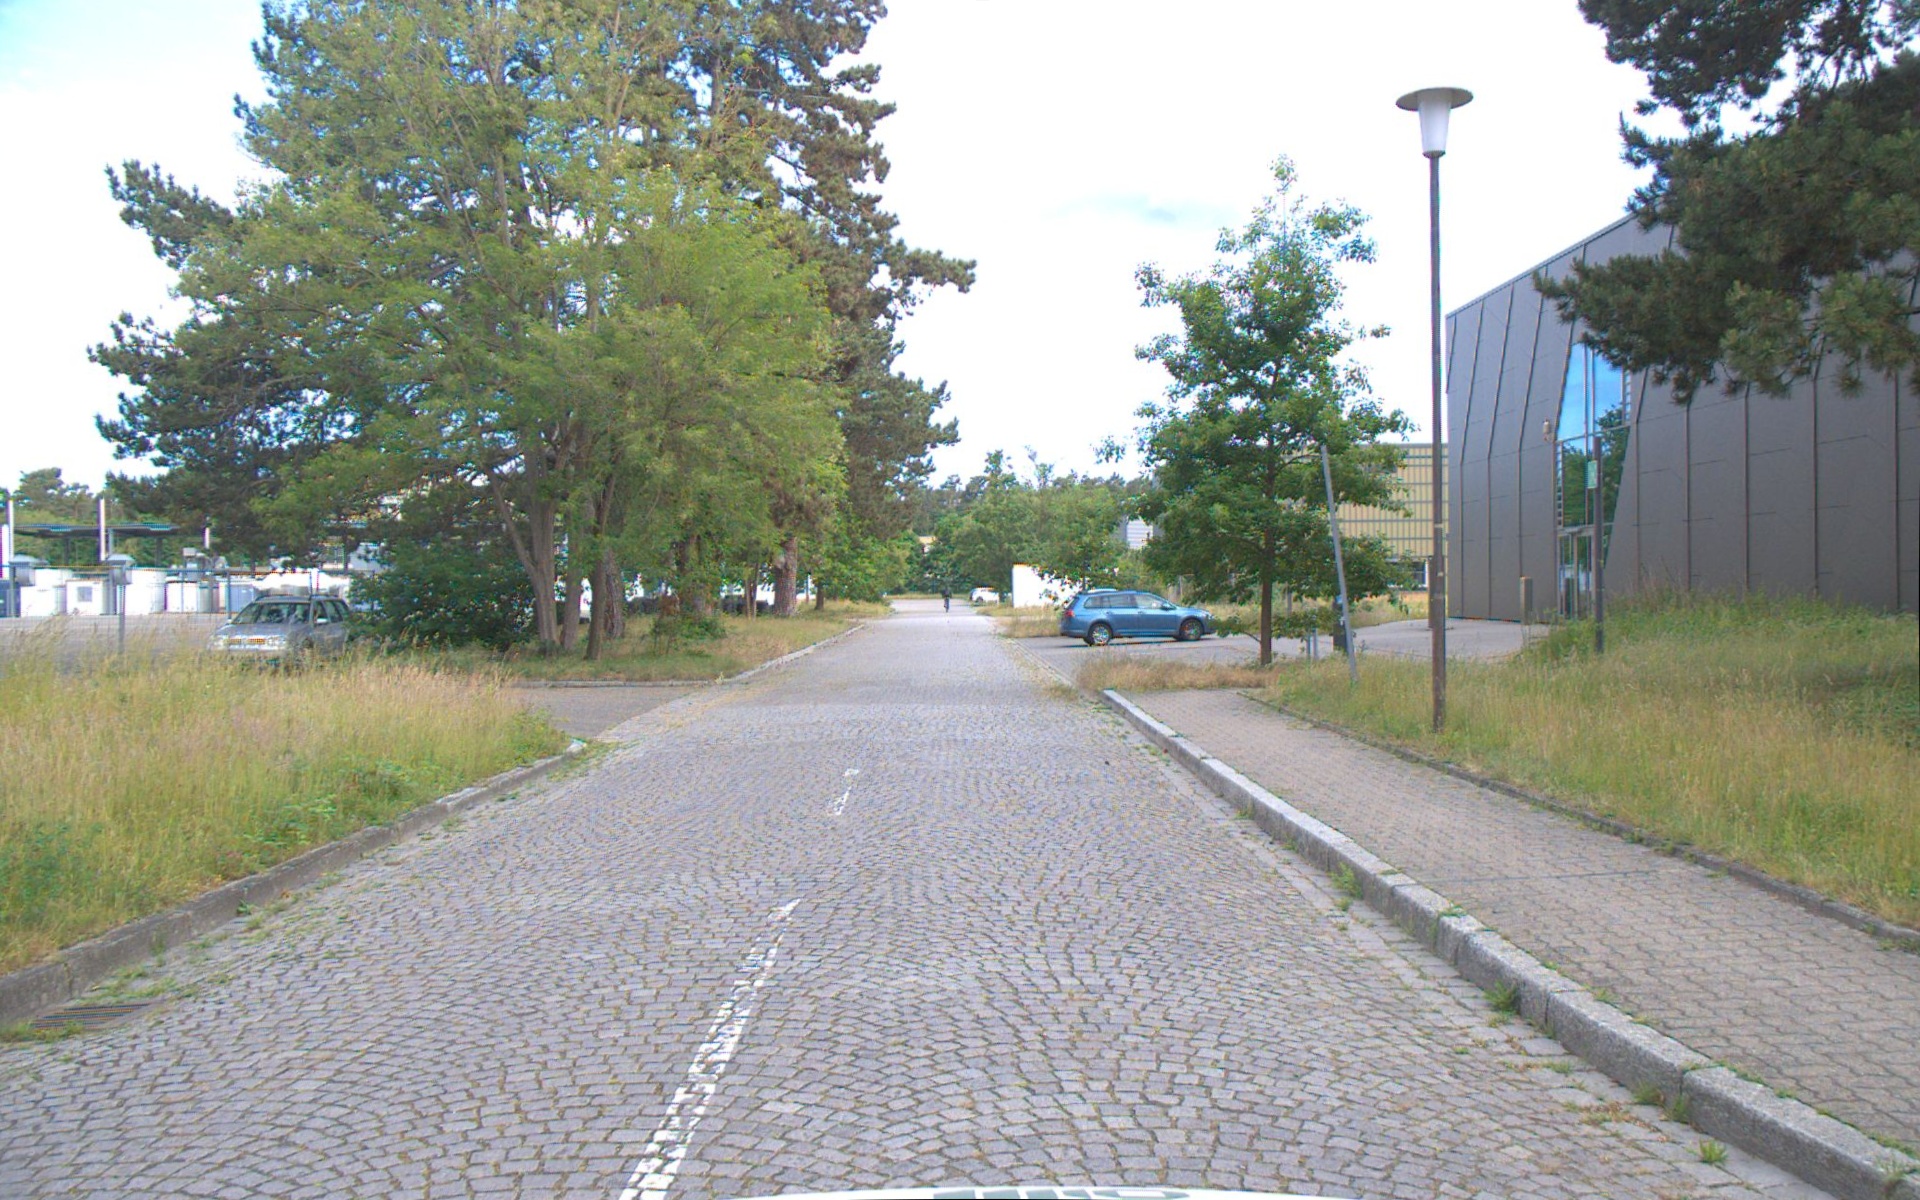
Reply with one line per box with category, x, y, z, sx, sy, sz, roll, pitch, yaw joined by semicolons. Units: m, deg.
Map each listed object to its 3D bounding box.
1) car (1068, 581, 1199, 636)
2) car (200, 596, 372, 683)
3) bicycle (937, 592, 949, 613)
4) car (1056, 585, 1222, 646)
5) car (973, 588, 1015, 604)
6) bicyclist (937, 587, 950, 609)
car;5.695;0.278;54.514;4.026;1.600;1.764;-3;0;-3
car;-12.929;0.703;32.011;1.695;1.457;4.161;-1;1;-2
bicycle;-1.176;0.174;117.054;0.807;1.400;2.042;0;1;-2
car;5.044;0.416;47.051;4.392;1.488;1.933;-3;0;-3
car;3.405;-0.375;166.845;4.233;1.576;2.000;-1;0;0
bicyclist;-1.177;-0.139;117.070;0.879;1.569;0.868;0;1;-2
